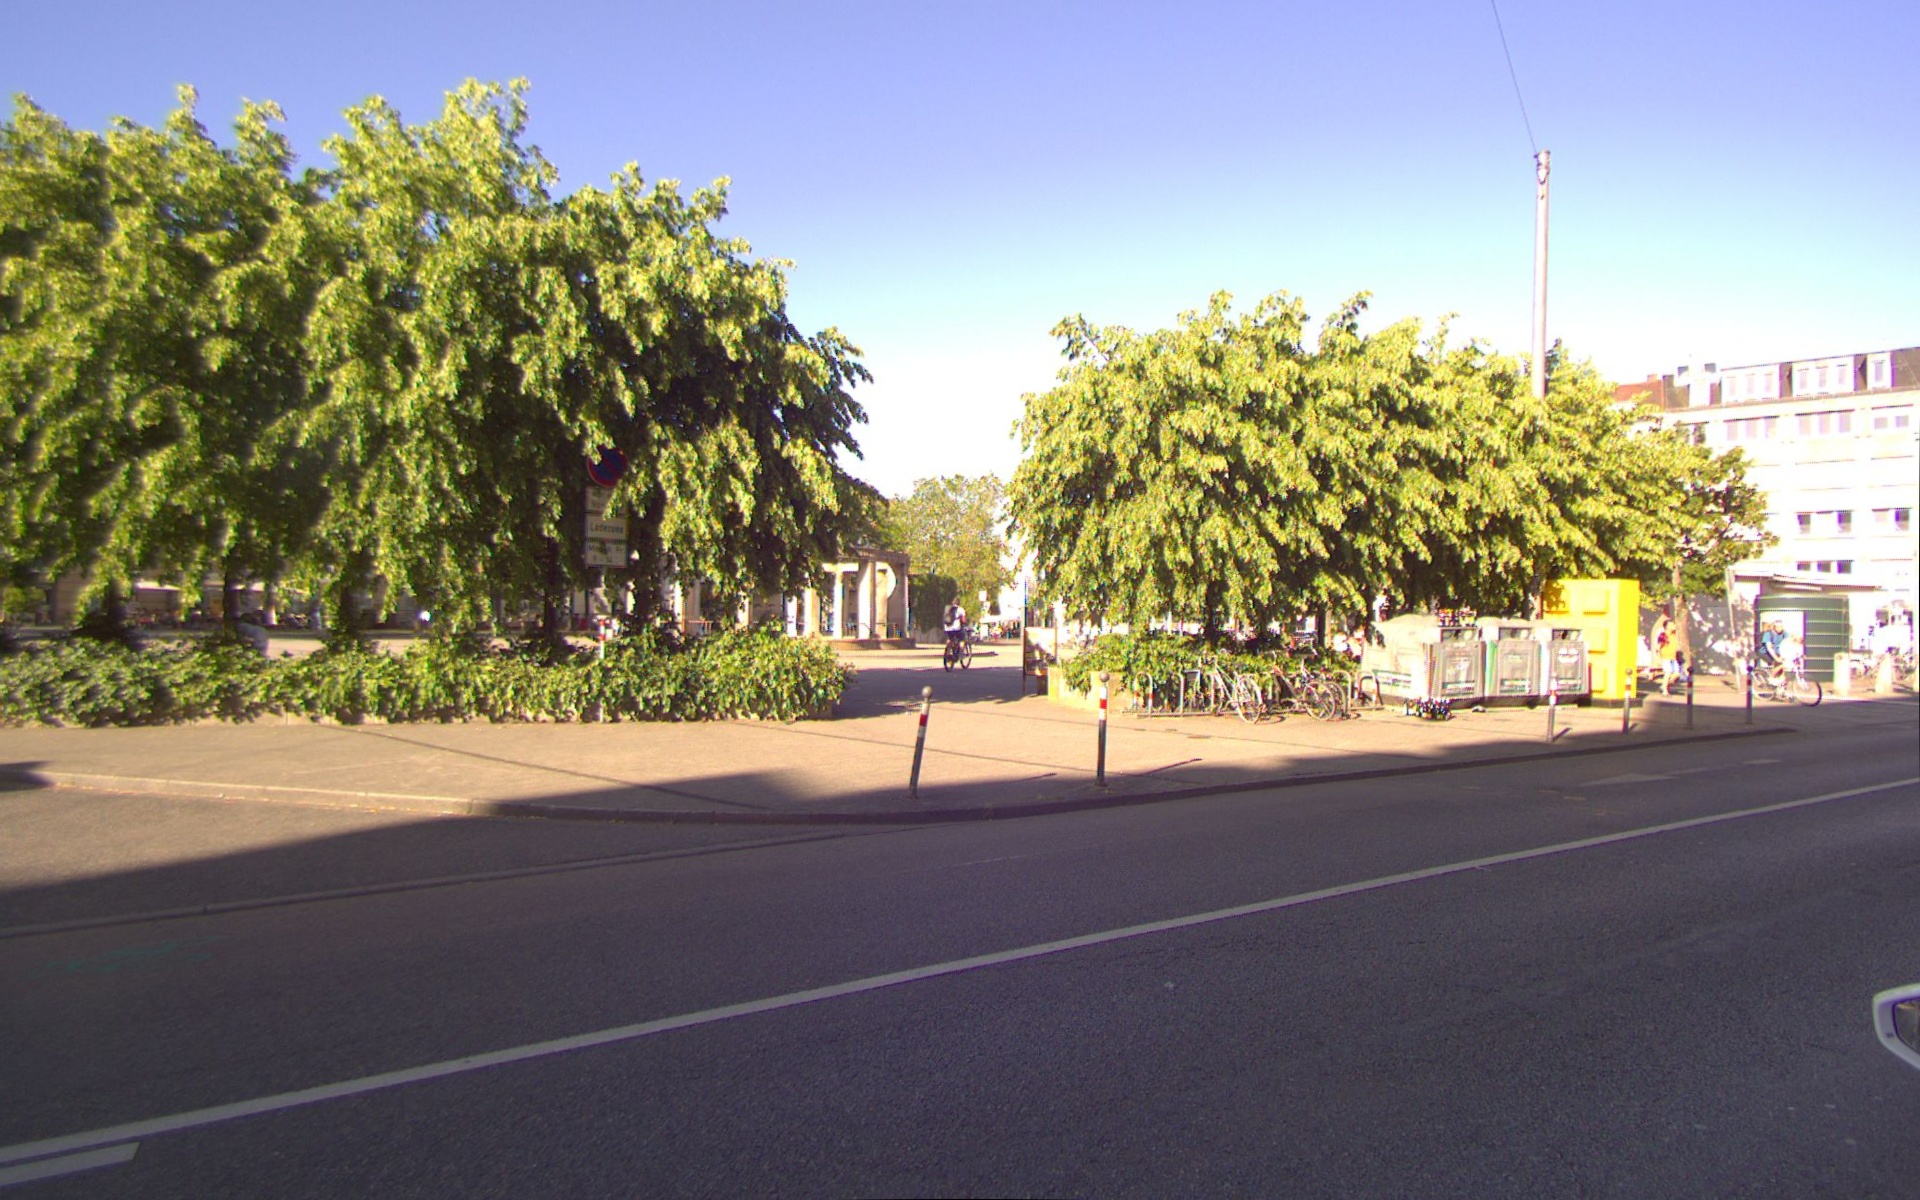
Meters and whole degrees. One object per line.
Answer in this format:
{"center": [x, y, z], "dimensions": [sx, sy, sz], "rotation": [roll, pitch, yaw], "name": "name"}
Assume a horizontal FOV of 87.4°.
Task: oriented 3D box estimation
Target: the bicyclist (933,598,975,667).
{"center": [-0.141, 0.826, 26.016], "dimensions": [0.773, 1.722, 0.896], "rotation": [2, 0, 20], "name": "bicyclist"}

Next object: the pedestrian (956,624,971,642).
{"center": [0.316, 2.798, 85.068], "dimensions": [0.867, 1.497, 0.940], "rotation": [2, 0, 42], "name": "pedestrian"}

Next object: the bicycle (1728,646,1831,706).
{"center": [18.365, 1.678, 22.564], "dimensions": [0.606, 1.178, 1.956], "rotation": [2, 0, -3], "name": "bicycle"}

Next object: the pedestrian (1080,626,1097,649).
{"center": [8.743, 2.541, 68.434], "dimensions": [1.003, 1.541, 1.036], "rotation": [2, 0, 15], "name": "pedestrian"}

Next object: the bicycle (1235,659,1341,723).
{"center": [5.251, 1.436, 16.174], "dimensions": [0.465, 0.870, 1.659], "rotation": [2, 0, -35], "name": "bicycle"}

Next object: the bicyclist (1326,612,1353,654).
{"center": [13.076, 1.142, 34.637], "dimensions": [0.566, 1.399, 0.706], "rotation": [2, -3, -17], "name": "bicyclist"}

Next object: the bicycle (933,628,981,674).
{"center": [-0.057, 1.304, 26.322], "dimensions": [0.593, 1.116, 1.989], "rotation": [2, 0, 20], "name": "bicycle"}

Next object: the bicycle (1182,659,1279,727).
{"center": [4.151, 1.404, 15.516], "dimensions": [0.464, 0.897, 1.558], "rotation": [2, 0, -29], "name": "bicycle"}

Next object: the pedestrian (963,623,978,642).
{"center": [0.864, 2.760, 84.331], "dimensions": [0.867, 1.557, 0.894], "rotation": [2, 0, 33], "name": "pedestrian"}

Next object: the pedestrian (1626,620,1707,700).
{"center": [16.124, 1.348, 22.931], "dimensions": [1.047, 1.742, 1.106], "rotation": [2, 0, -25], "name": "pedestrian"}

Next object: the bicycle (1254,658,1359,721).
{"center": [5.650, 1.446, 16.469], "dimensions": [0.465, 0.870, 1.654], "rotation": [2, 0, -35], "name": "bicycle"}

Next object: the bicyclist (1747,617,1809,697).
{"center": [18.335, 1.263, 22.531], "dimensions": [0.690, 1.732, 0.809], "rotation": [2, 0, -3], "name": "bicyclist"}

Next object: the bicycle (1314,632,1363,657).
{"center": [13.054, 1.543, 34.665], "dimensions": [0.571, 0.834, 1.853], "rotation": [1, -3, -17], "name": "bicycle"}

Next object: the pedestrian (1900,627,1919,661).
{"center": [45.213, 2.090, 47.824], "dimensions": [0.575, 1.544, 0.618], "rotation": [2, 0, -42], "name": "pedestrian"}

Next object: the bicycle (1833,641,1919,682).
{"center": [31.197, 2.055, 33.753], "dimensions": [0.932, 1.211, 2.645], "rotation": [2, 0, -32], "name": "bicycle"}

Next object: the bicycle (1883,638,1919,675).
{"center": [35.238, 2.076, 36.121], "dimensions": [0.932, 1.287, 2.859], "rotation": [2, 0, -32], "name": "bicycle"}

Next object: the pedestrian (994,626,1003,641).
{"center": [3.977, 3.460, 104.460], "dimensions": [0.744, 1.557, 0.673], "rotation": [2, 0, -12], "name": "pedestrian"}

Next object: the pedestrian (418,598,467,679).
{"center": [-10.146, 0.746, 19.690], "dimensions": [0.688, 1.541, 0.676], "rotation": [2, 0, -41], "name": "pedestrian"}

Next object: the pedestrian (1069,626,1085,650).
{"center": [7.644, 2.456, 65.565], "dimensions": [0.904, 1.541, 0.936], "rotation": [2, 0, 15], "name": "pedestrian"}

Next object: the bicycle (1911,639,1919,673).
{"center": [37.222, 2.147, 37.266], "dimensions": [0.932, 1.276, 2.648], "rotation": [2, 0, -32], "name": "bicycle"}

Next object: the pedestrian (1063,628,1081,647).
{"center": [7.527, 2.518, 67.643], "dimensions": [0.854, 1.230, 0.896], "rotation": [2, 0, 40], "name": "pedestrian"}

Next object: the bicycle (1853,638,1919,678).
{"center": [33.120, 2.032, 35.055], "dimensions": [0.923, 1.291, 2.764], "rotation": [2, 0, -32], "name": "bicycle"}

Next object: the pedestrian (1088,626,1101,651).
{"center": [8.658, 2.483, 64.638], "dimensions": [0.761, 1.541, 0.838], "rotation": [2, 0, 6], "name": "pedestrian"}

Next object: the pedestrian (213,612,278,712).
{"center": [-10.875, 0.926, 15.290], "dimensions": [0.581, 1.456, 0.615], "rotation": [2, 0, 33], "name": "pedestrian"}

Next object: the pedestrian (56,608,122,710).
{"center": [-12.882, 0.864, 14.873], "dimensions": [0.615, 1.456, 0.647], "rotation": [2, 0, -32], "name": "pedestrian"}

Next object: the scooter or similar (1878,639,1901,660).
{"center": [44.742, 2.359, 48.352], "dimensions": [0.461, 0.970, 0.780], "rotation": [2, 0, -42], "name": "scooter or similar"}
